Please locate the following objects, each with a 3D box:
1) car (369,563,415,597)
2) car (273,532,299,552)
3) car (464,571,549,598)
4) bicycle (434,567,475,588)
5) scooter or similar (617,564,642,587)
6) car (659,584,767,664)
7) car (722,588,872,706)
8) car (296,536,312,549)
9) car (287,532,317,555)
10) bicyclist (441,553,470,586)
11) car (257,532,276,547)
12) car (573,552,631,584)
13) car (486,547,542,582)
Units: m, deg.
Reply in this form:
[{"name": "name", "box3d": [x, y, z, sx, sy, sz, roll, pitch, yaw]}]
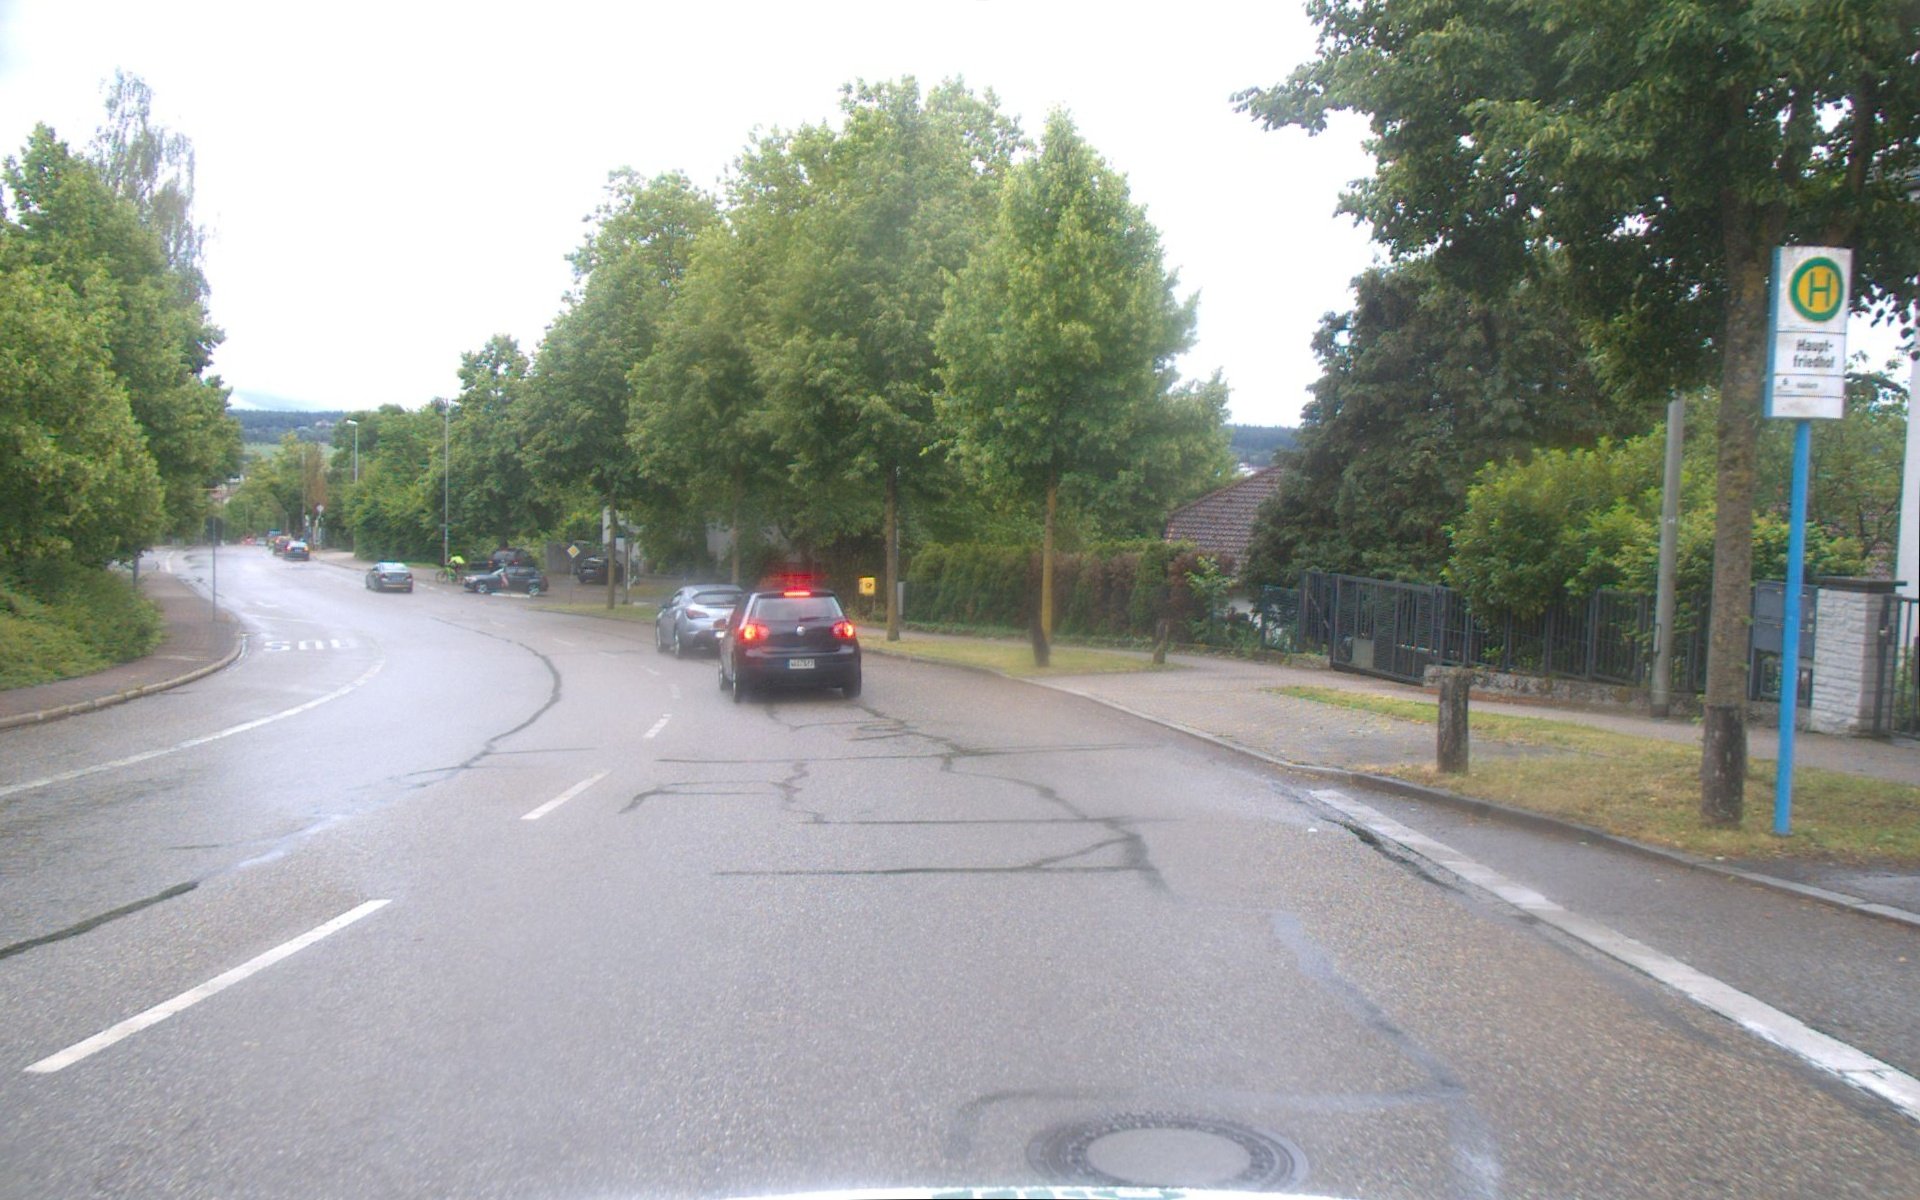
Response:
[{"name": "car", "box3d": [-28.309, -1.017, 82.375, 1.700, 1.489, 3.969, 3, 1, -25]}, {"name": "car", "box3d": [-54.711, -4.726, 134.296, 1.700, 1.489, 3.969, 3, 1, -25]}, {"name": "car", "box3d": [-23.470, -0.798, 85.611, 4.071, 1.408, 1.715, 0, 0, -24]}, {"name": "bicycle", "box3d": [-27.828, -1.242, 91.044, 1.988, 1.175, 0.855, 1, 1, 16]}, {"name": "scooter or similar", "box3d": [-19.040, -1.409, 95.244, 1.323, 1.307, 0.555, -2, 2, -34]}, {"name": "car", "box3d": [-5.256, 0.451, 34.822, 1.726, 1.489, 3.982, 0, 2, -17]}, {"name": "car", "box3d": [-2.377, 0.590, 23.278, 1.691, 1.489, 3.988, 0, 0, -12]}, {"name": "car", "box3d": [-78.129, -6.846, 196.888, 1.698, 1.489, 3.972, -1, 3, -23]}, {"name": "car", "box3d": [-47.565, -4.119, 119.544, 1.700, 1.489, 3.969, 3, 1, -25]}, {"name": "bicyclist", "box3d": [-27.758, -1.661, 91.019, 1.254, 1.786, 0.855, 1, 1, 16]}, {"name": "car", "box3d": [-79.000, -6.879, 188.348, 1.700, 1.489, 3.969, 3, 1, -25]}, {"name": "car", "box3d": [-20.927, -1.879, 96.781, 1.714, 1.494, 4.572, 4, 5, 9]}, {"name": "car", "box3d": [-26.134, -2.105, 97.011, 1.907, 1.718, 4.906, 3, 5, 0]}]
